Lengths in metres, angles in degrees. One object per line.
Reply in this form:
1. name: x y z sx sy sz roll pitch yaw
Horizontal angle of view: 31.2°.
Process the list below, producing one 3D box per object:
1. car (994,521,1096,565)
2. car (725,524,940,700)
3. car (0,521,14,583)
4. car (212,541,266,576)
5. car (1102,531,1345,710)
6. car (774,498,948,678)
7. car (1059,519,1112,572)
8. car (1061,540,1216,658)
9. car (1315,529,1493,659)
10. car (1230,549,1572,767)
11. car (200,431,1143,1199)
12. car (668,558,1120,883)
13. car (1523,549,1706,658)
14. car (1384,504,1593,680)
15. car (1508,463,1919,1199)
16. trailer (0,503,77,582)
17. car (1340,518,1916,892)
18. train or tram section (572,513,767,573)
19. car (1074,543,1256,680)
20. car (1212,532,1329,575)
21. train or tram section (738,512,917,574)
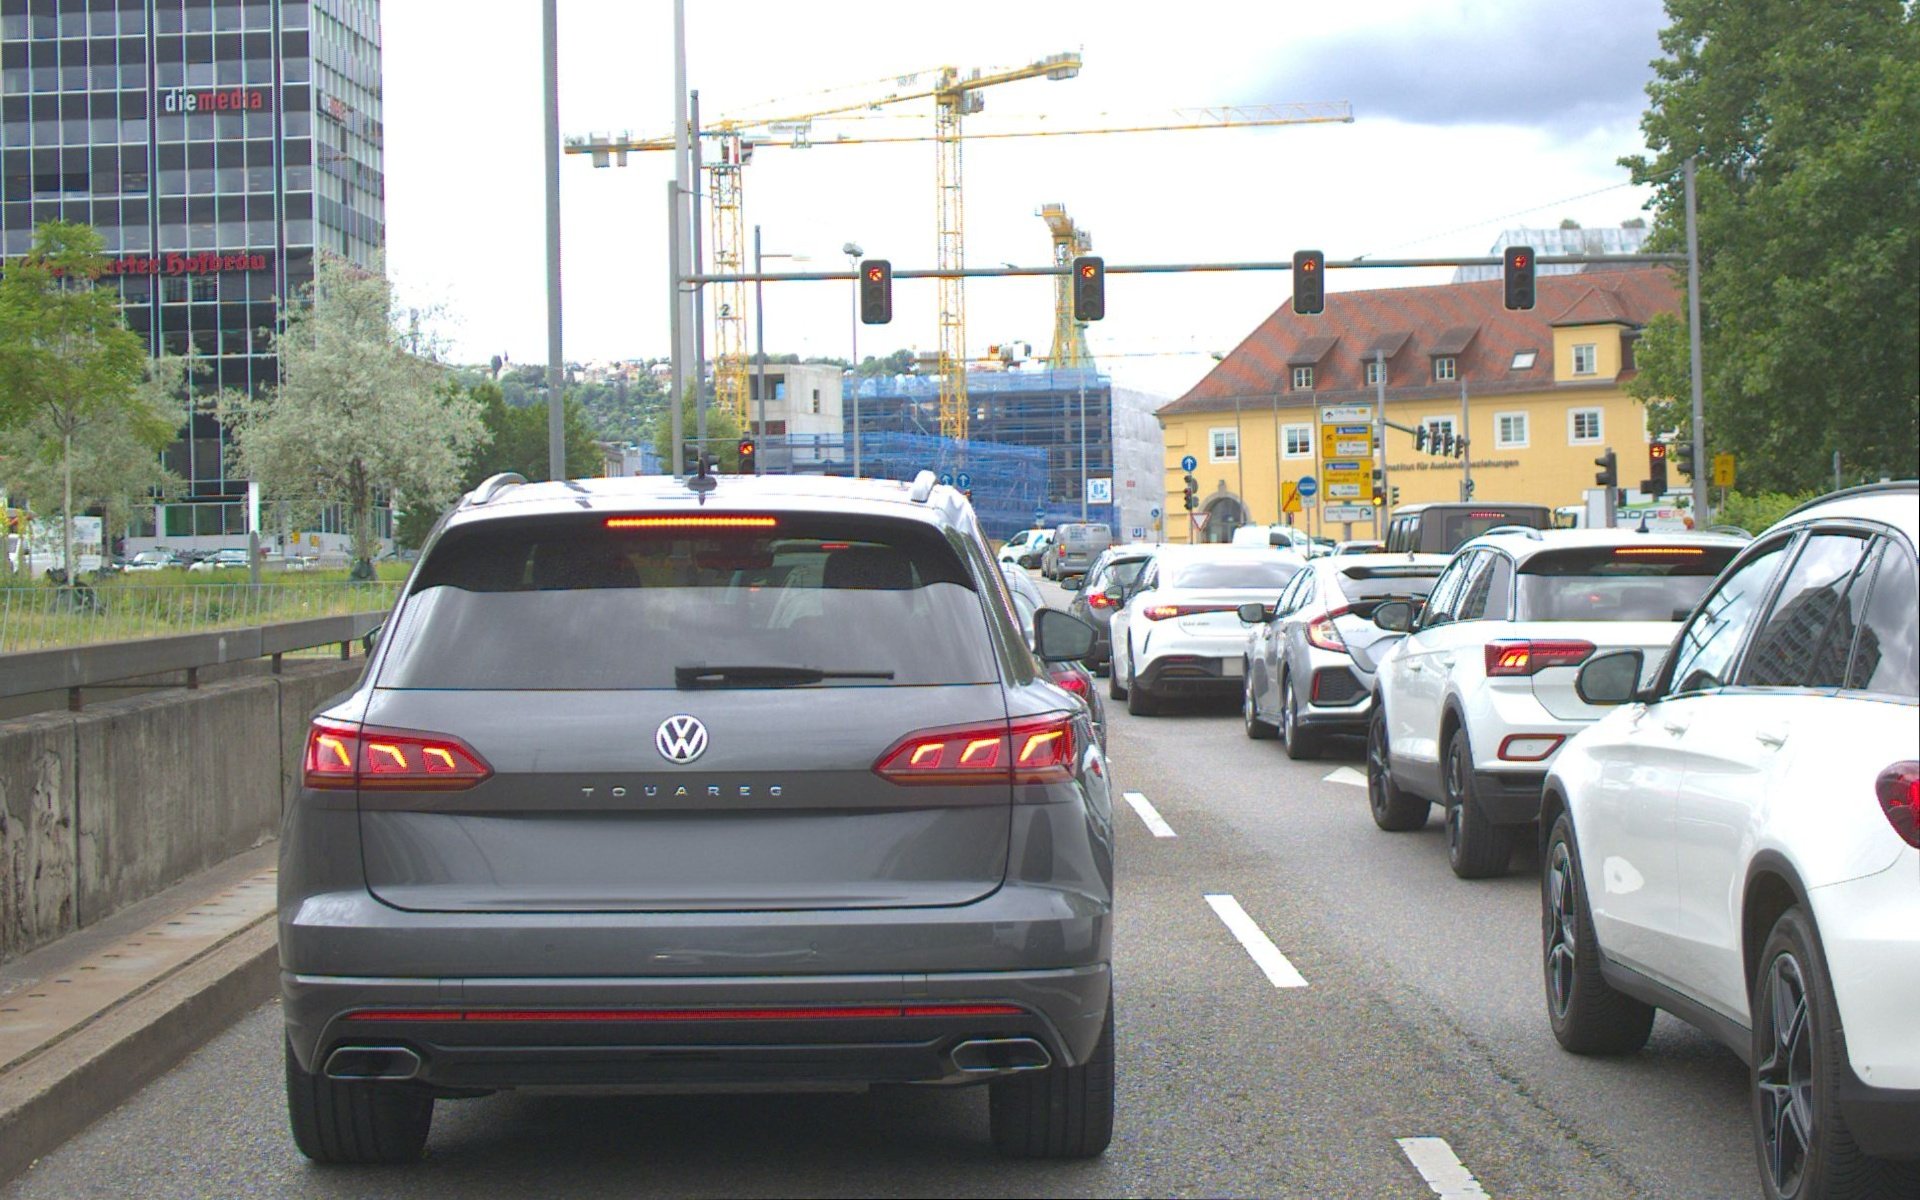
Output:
1. car: 4.017 -2.689 162.774 4.454 2.007 1.996 1 -1 33
2. car: -1.206 0.083 33.582 1.951 1.594 3.931 1 1 -1
3. car: -32.427 -1.503 111.814 1.993 2.006 4.692 -1 2 0
4. car: -31.897 -1.824 152.150 1.732 1.489 3.595 1 0 -3
5. car: 2.334 0.163 31.482 1.926 1.524 4.489 0 0 1
6. car: -1.159 -0.166 41.058 1.951 2.011 3.931 1 1 -1
7. car: 4.149 -1.796 114.064 1.619 1.622 4.000 1 0 0
8. car: 2.379 -0.019 46.590 1.926 1.524 4.047 0 0 1
9. car: 6.049 -0.090 47.261 1.910 1.691 4.012 1 0 0
10. car: 3.063 0.369 24.760 1.926 1.427 4.489 0 0 1
11. car: -0.634 0.450 9.191 1.951 1.646 4.000 -1 1 -1
12. car: -0.323 0.502 16.965 1.951 1.379 3.931 1 1 -1
13. car: 9.161 0.036 48.360 1.757 1.442 3.634 1 0 -2
14. car: 6.364 -0.105 41.792 1.910 2.007 4.012 1 0 0
15. car: 2.654 0.508 8.460 1.926 1.648 4.490 0 2 1
16. trailer: -31.733 -1.998 116.838 2.037 2.596 5.509 1 2 -1
17. car: 3.017 0.425 16.492 1.926 1.545 4.489 0 0 1
18. train or tram section: -15.080 -2.970 177.867 10.413 2.999 2.592 1 -1 30
19. car: 2.354 0.122 40.303 1.926 1.524 4.047 0 0 1
20. car: 11.991 -1.788 132.734 4.108 1.605 1.826 1 -1 35
21. train or tram section: -6.675 -2.875 173.090 8.936 2.999 2.592 1 -1 29
